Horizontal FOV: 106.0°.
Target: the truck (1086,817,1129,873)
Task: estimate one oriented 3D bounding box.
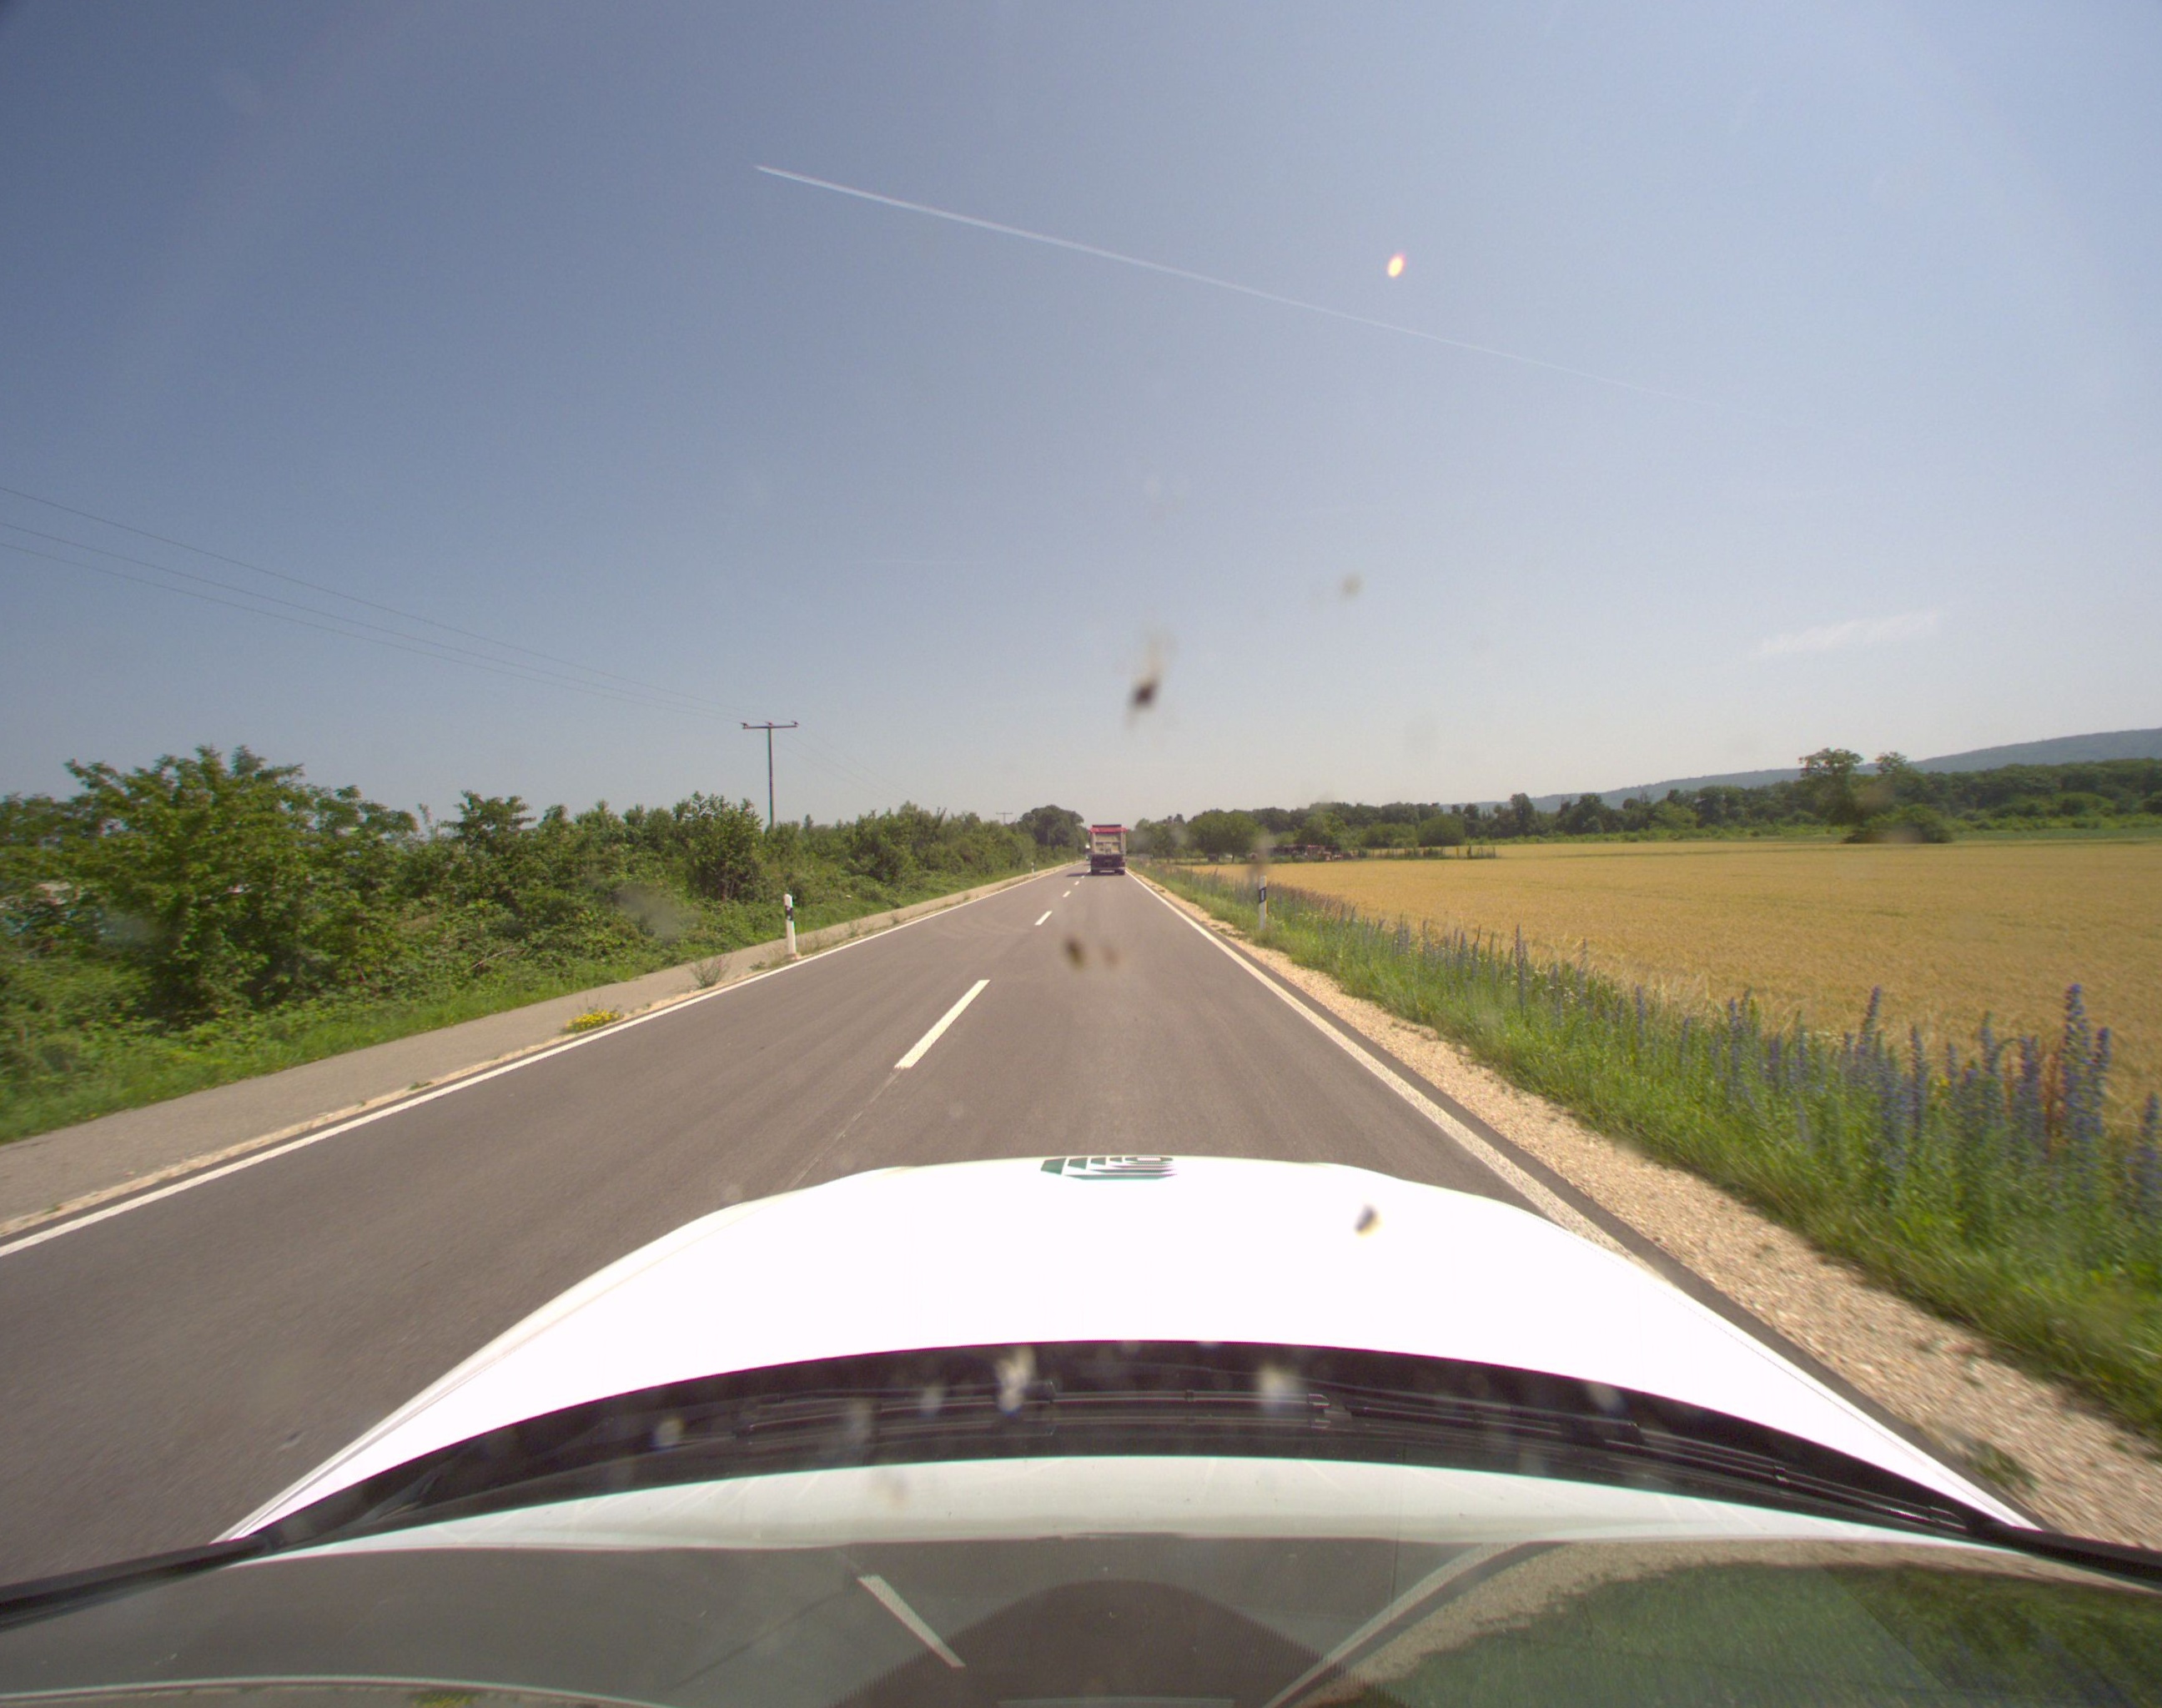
[{"bbox_3d":[2.040,-0.603,62.972,2.998,3.874,12.213,0,0,2],"label":"truck"}]

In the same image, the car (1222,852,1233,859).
[{"bbox_3d":[32.712,0.391,182.205,1.591,1.486,3.420,-1,1,-6],"label":"car"}]

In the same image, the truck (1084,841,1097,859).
[{"bbox_3d":[2.412,-0.906,202.344,2.707,4.266,7.392,-3,0,2],"label":"truck"}]

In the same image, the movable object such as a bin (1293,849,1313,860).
[{"bbox_3d":[29.968,0.077,109.866,1.567,1.496,3.655,-1,0,-3],"label":"movable object such as a bin"}]
